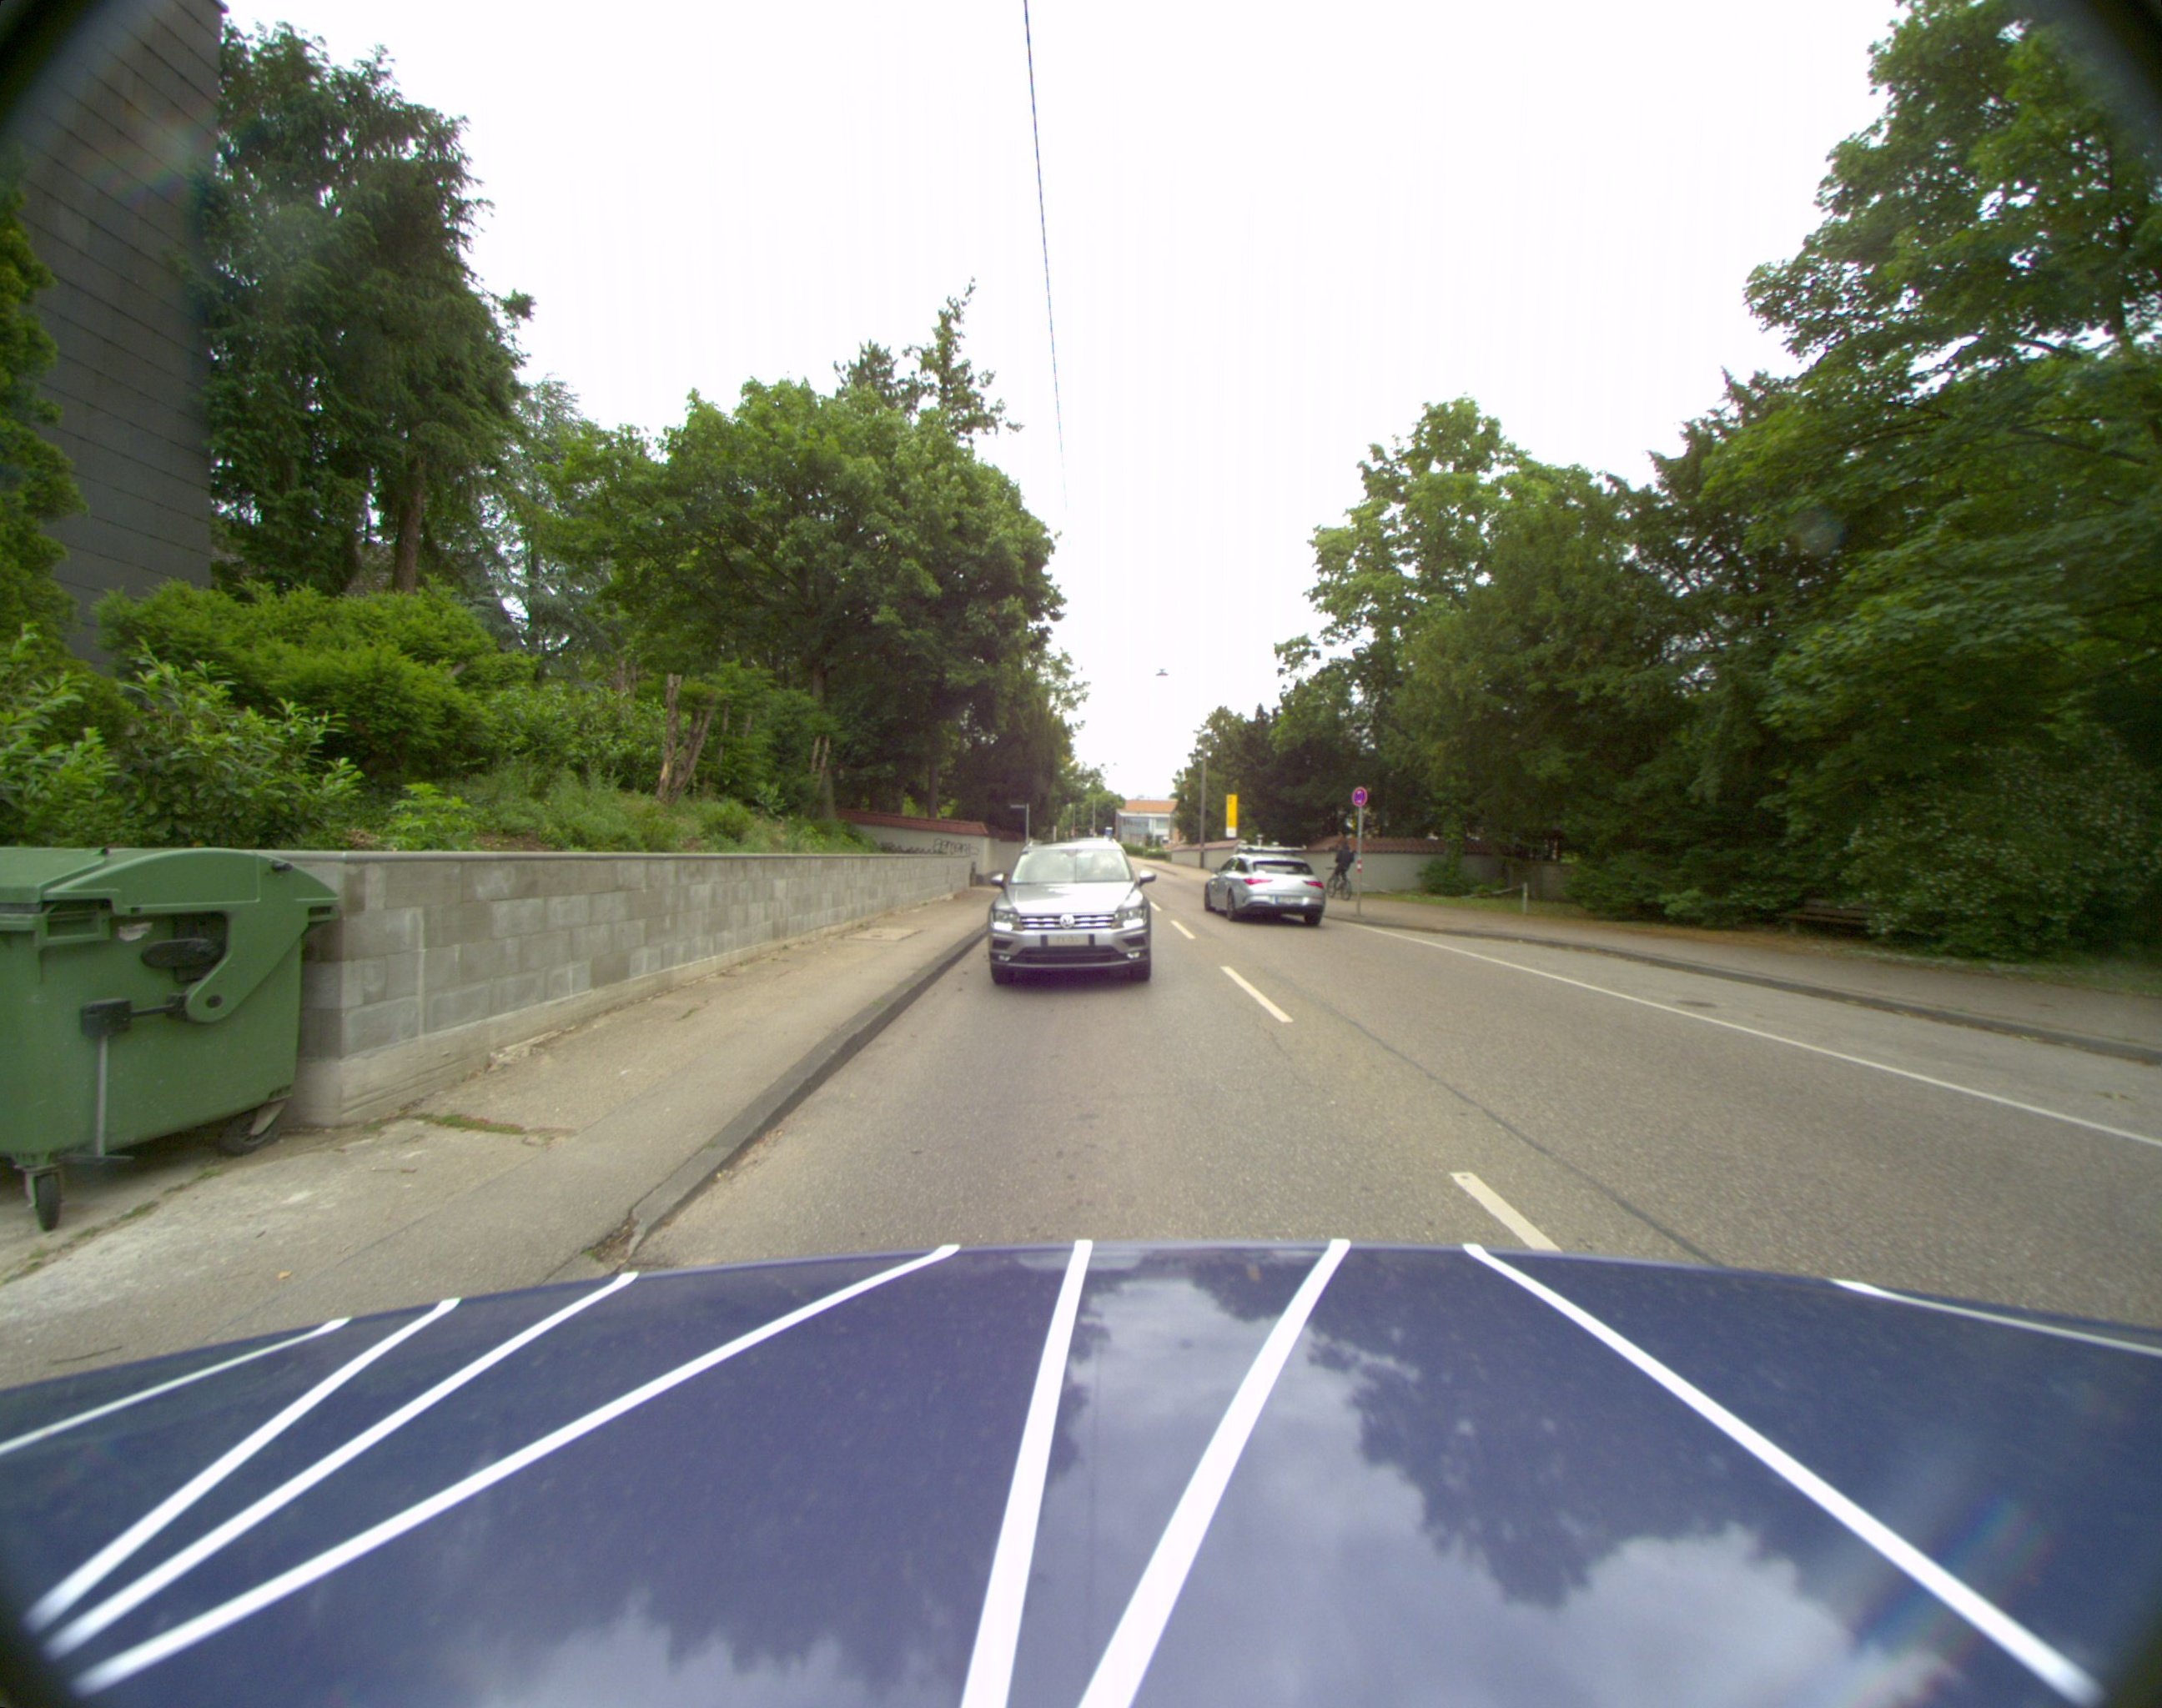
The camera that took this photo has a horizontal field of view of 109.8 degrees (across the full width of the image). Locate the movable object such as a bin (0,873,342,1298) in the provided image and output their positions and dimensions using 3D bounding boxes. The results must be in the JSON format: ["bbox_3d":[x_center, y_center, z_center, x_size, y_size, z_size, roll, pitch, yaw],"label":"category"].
[{"bbox_3d":[-4.397,0.826,3.219,1.407,1.443,1.116,0,1,1],"label":"movable object such as a bin"}]

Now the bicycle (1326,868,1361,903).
[{"bbox_3d":[8.162,0.962,23.683,0.496,0.959,1.748,-3,1,1],"label":"bicycle"}]

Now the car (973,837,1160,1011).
[{"bbox_3d":[-0.126,0.668,9.945,1.820,1.690,4.717,-2,1,0],"label":"car"}]

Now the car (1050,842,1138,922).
[{"bbox_3d":[0.292,0.553,18.046,1.820,1.647,4.487,-1,1,0],"label":"car"}]

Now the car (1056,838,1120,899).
[{"bbox_3d":[0.228,0.372,23.983,1.820,1.733,4.487,-1,1,0],"label":"car"}]

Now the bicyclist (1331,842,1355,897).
[{"bbox_3d":[8.141,0.478,23.601,0.489,1.674,0.588,-3,2,1],"label":"bicyclist"}]

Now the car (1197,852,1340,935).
[{"bbox_3d":[3.839,0.737,16.384,1.761,1.395,4.412,2,1,-3],"label":"car"}]
